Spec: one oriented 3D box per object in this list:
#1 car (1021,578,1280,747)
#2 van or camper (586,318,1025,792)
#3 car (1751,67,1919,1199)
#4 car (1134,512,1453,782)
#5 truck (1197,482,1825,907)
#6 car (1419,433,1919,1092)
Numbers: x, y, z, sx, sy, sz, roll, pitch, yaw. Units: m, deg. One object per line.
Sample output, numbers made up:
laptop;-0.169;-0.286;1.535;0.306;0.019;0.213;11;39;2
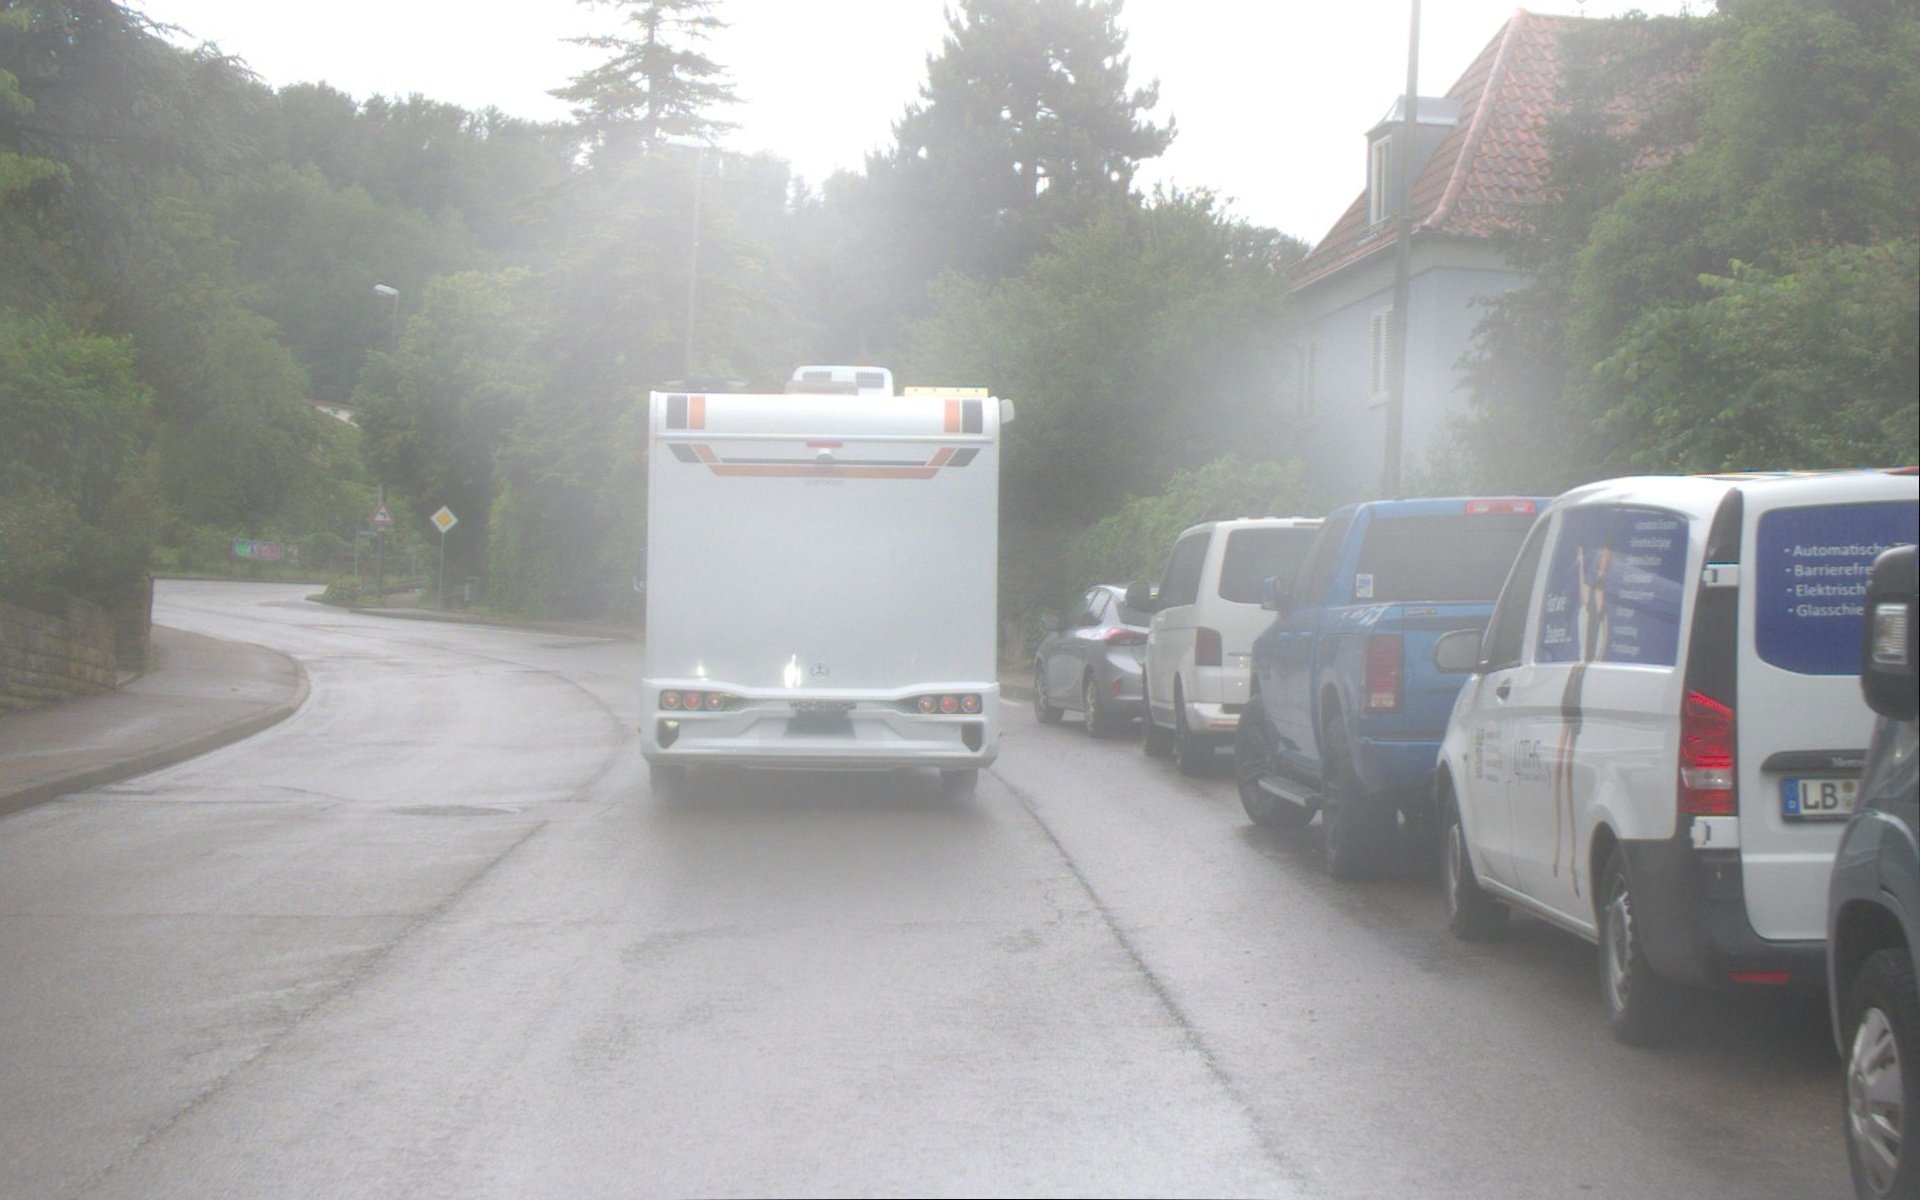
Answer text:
car;1.772;0.560;33.245;1.685;1.452;4.058;2;1;-8
van or camper;-0.974;-0.225;24.297;2.616;2.843;6.031;2;-1;0
car;2.986;0.177;5.475;2.031;2.497;5.956;0;1;0
car;2.561;0.316;27.597;1.860;1.914;5.080;2;1;-2
truck;2.740;0.397;18.967;2.113;1.845;6.619;3;1;-2
car;2.920;0.426;12.223;1.827;1.836;5.270;0;1;-1
